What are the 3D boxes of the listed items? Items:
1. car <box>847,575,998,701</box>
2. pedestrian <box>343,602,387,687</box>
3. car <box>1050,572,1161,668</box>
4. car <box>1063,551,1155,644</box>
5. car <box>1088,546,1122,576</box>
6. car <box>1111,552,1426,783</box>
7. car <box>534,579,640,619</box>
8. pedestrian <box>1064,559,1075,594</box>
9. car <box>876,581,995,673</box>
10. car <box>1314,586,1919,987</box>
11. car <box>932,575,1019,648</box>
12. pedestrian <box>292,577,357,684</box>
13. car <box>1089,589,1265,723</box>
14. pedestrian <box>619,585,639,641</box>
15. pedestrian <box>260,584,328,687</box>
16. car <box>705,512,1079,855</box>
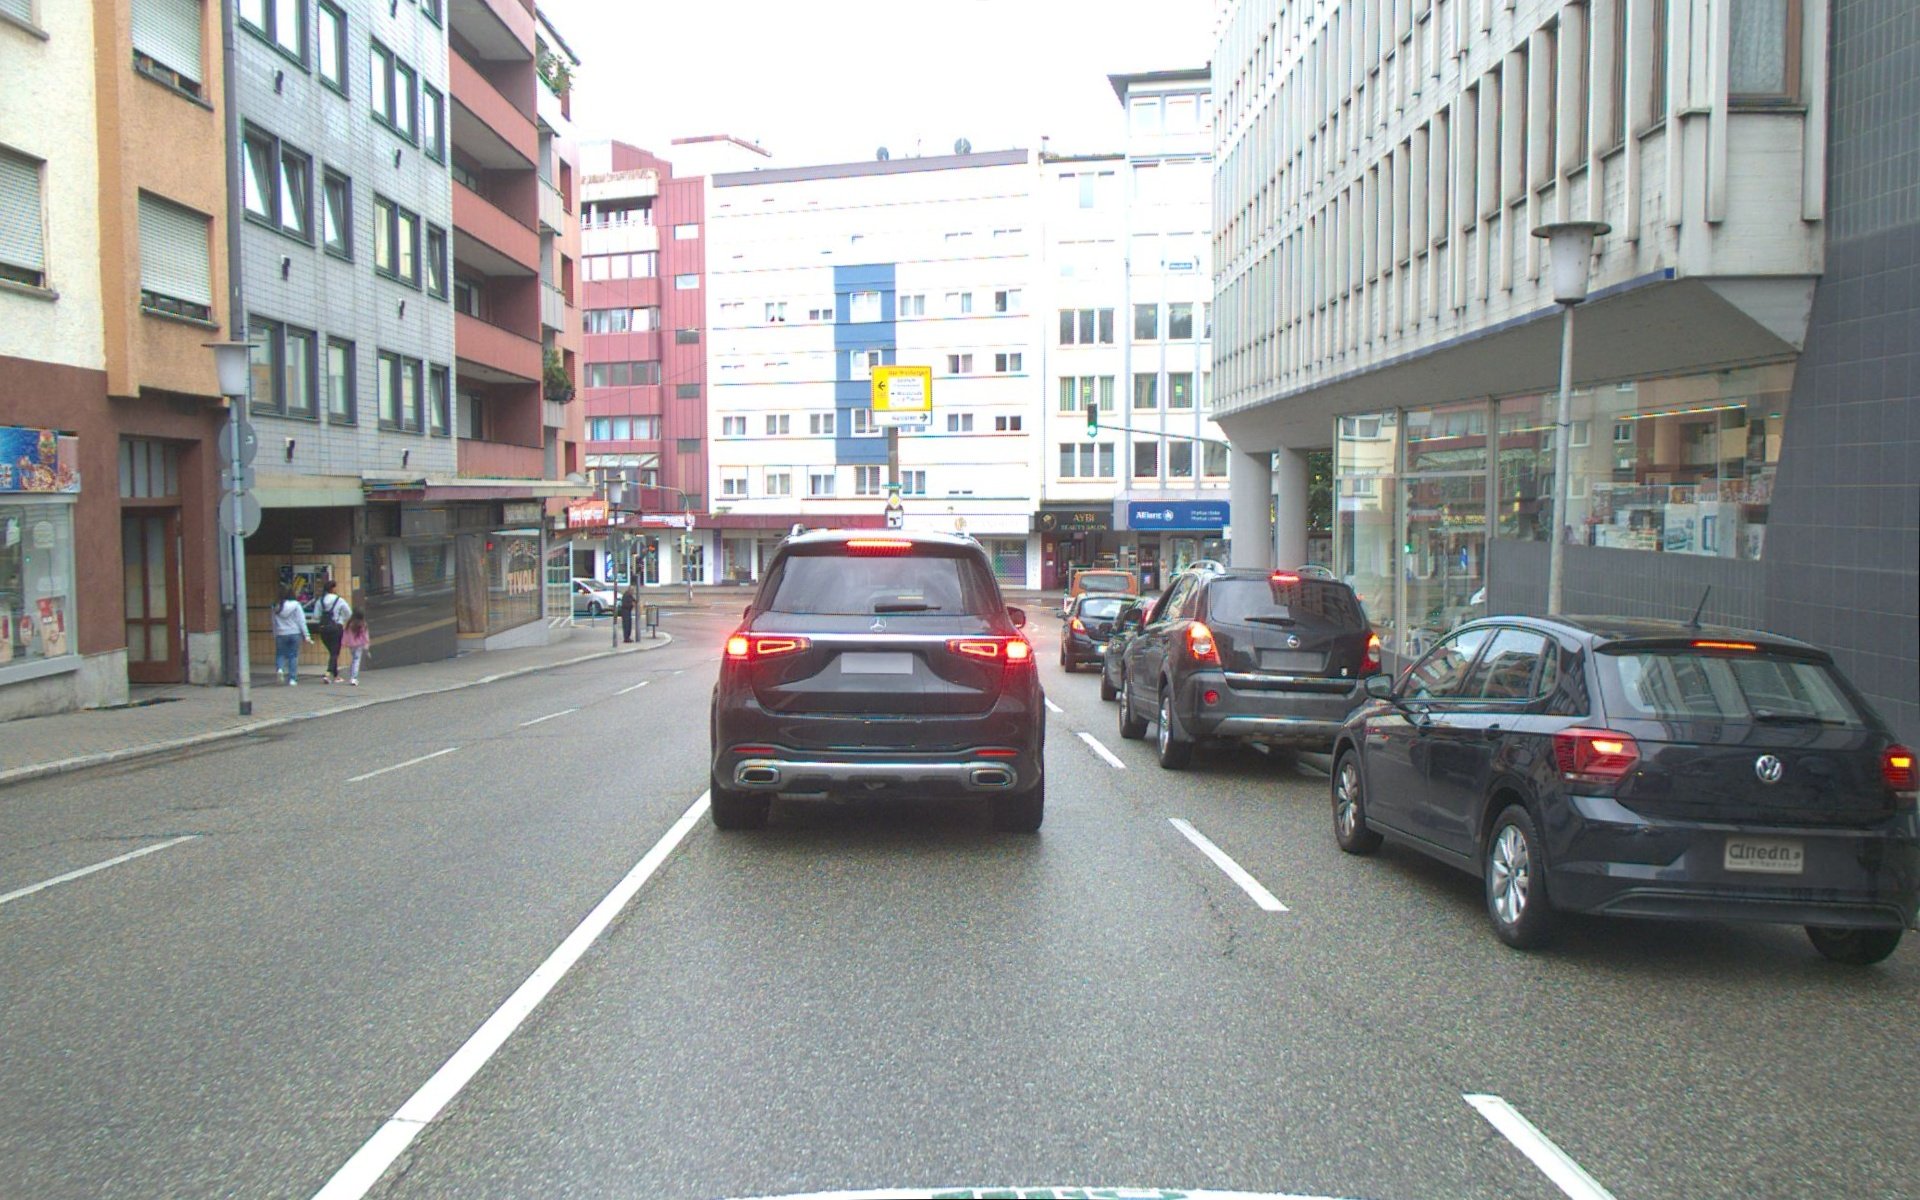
[{"bbox_3d":[-0.546,0.438,22.539,1.836,1.521,4.398,1,1,-2],"label":"car"},{"bbox_3d":[-9.713,0.713,27.024,0.523,1.346,0.722,2,0,-10],"label":"pedestrian"},{"bbox_3d":[2.745,0.374,31.999,1.785,1.687,4.496,1,0,1],"label":"car"},{"bbox_3d":[3.904,-0.073,44.066,2.195,2.267,5.431,1,0,3],"label":"car"},{"bbox_3d":[8.478,-2.242,96.410,1.759,1.699,4.004,-1,1,8],"label":"car"},{"bbox_3d":[2.624,0.506,15.198,1.859,1.724,4.504,3,1,-2],"label":"car"},{"bbox_3d":[-16.090,-0.056,71.369,4.073,1.620,1.742,1,1,14],"label":"car"},{"bbox_3d":[5.555,-1.207,83.800,0.552,1.717,0.757,0,6,5],"label":"pedestrian"},{"bbox_3d":[-0.435,0.424,29.651,1.953,1.512,4.236,-1,1,-1],"label":"car"},{"bbox_3d":[3.183,0.728,8.510,1.655,1.502,3.998,3,1,-3],"label":"car"},{"bbox_3d":[0.309,0.284,38.954,1.886,1.542,4.661,2,-1,-1],"label":"car"},{"bbox_3d":[-10.460,0.488,27.250,0.812,1.719,0.722,2,0,-10],"label":"pedestrian"},{"bbox_3d":[2.743,0.654,21.703,1.731,1.421,4.001,5,1,1],"label":"car"},{"bbox_3d":[-10.205,0.396,51.006,0.543,1.727,0.623,0,0,-5],"label":"pedestrian"},{"bbox_3d":[-10.513,0.553,26.145,0.812,1.588,0.722,2,0,-10],"label":"pedestrian"},{"bbox_3d":[-0.460,0.429,11.292,1.998,1.830,4.661,1,1,-3],"label":"car"}]
